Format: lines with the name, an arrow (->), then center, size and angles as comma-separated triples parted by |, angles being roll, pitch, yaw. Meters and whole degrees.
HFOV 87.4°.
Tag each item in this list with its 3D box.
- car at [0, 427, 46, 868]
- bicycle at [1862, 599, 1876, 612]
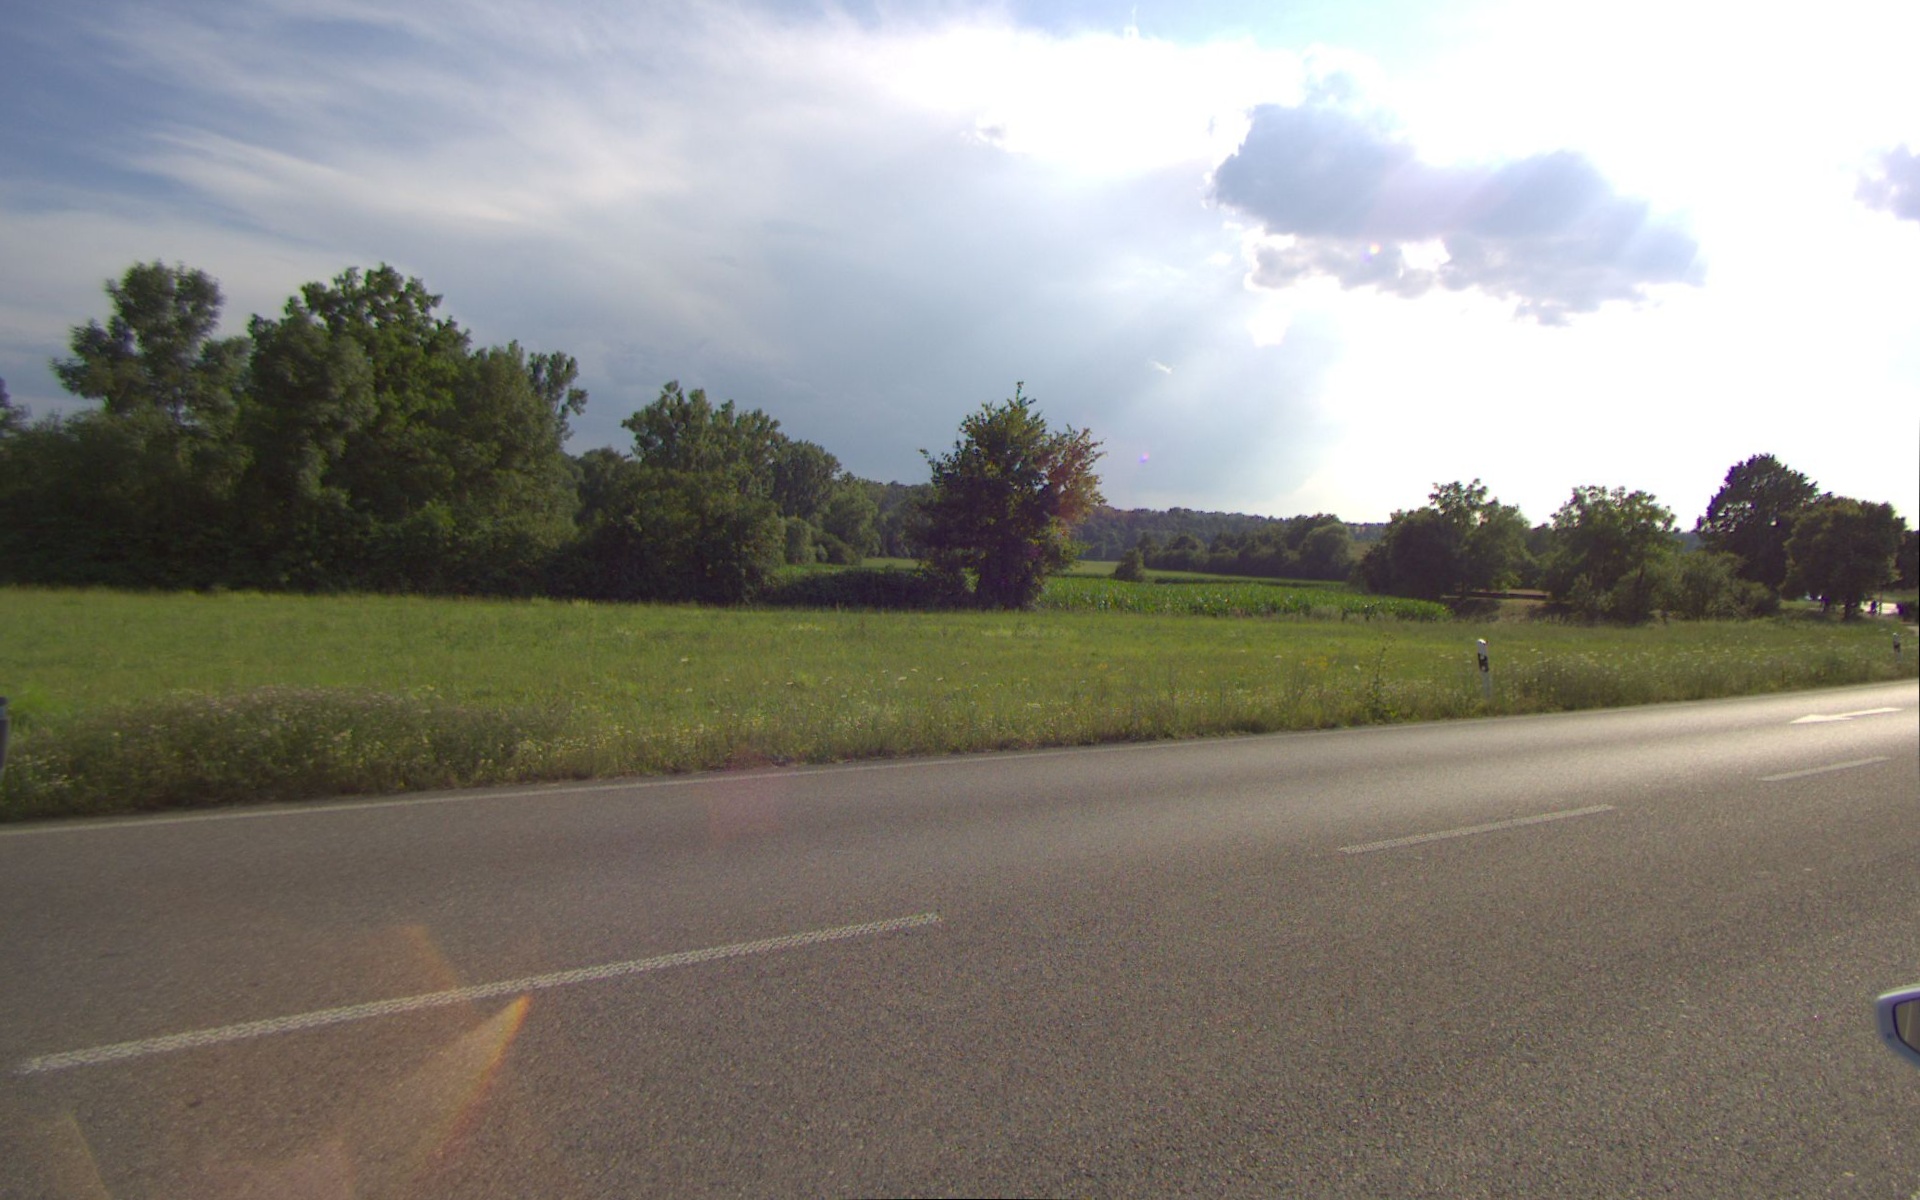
car -> -6.579, 0.198, 3.438 | 4.722, 2.165, 1.989 | 1, 0, -30
bicycle -> 82.205, 0.526, 90.846 | 1.656, 1.089, 0.630 | 1, 2, -39
